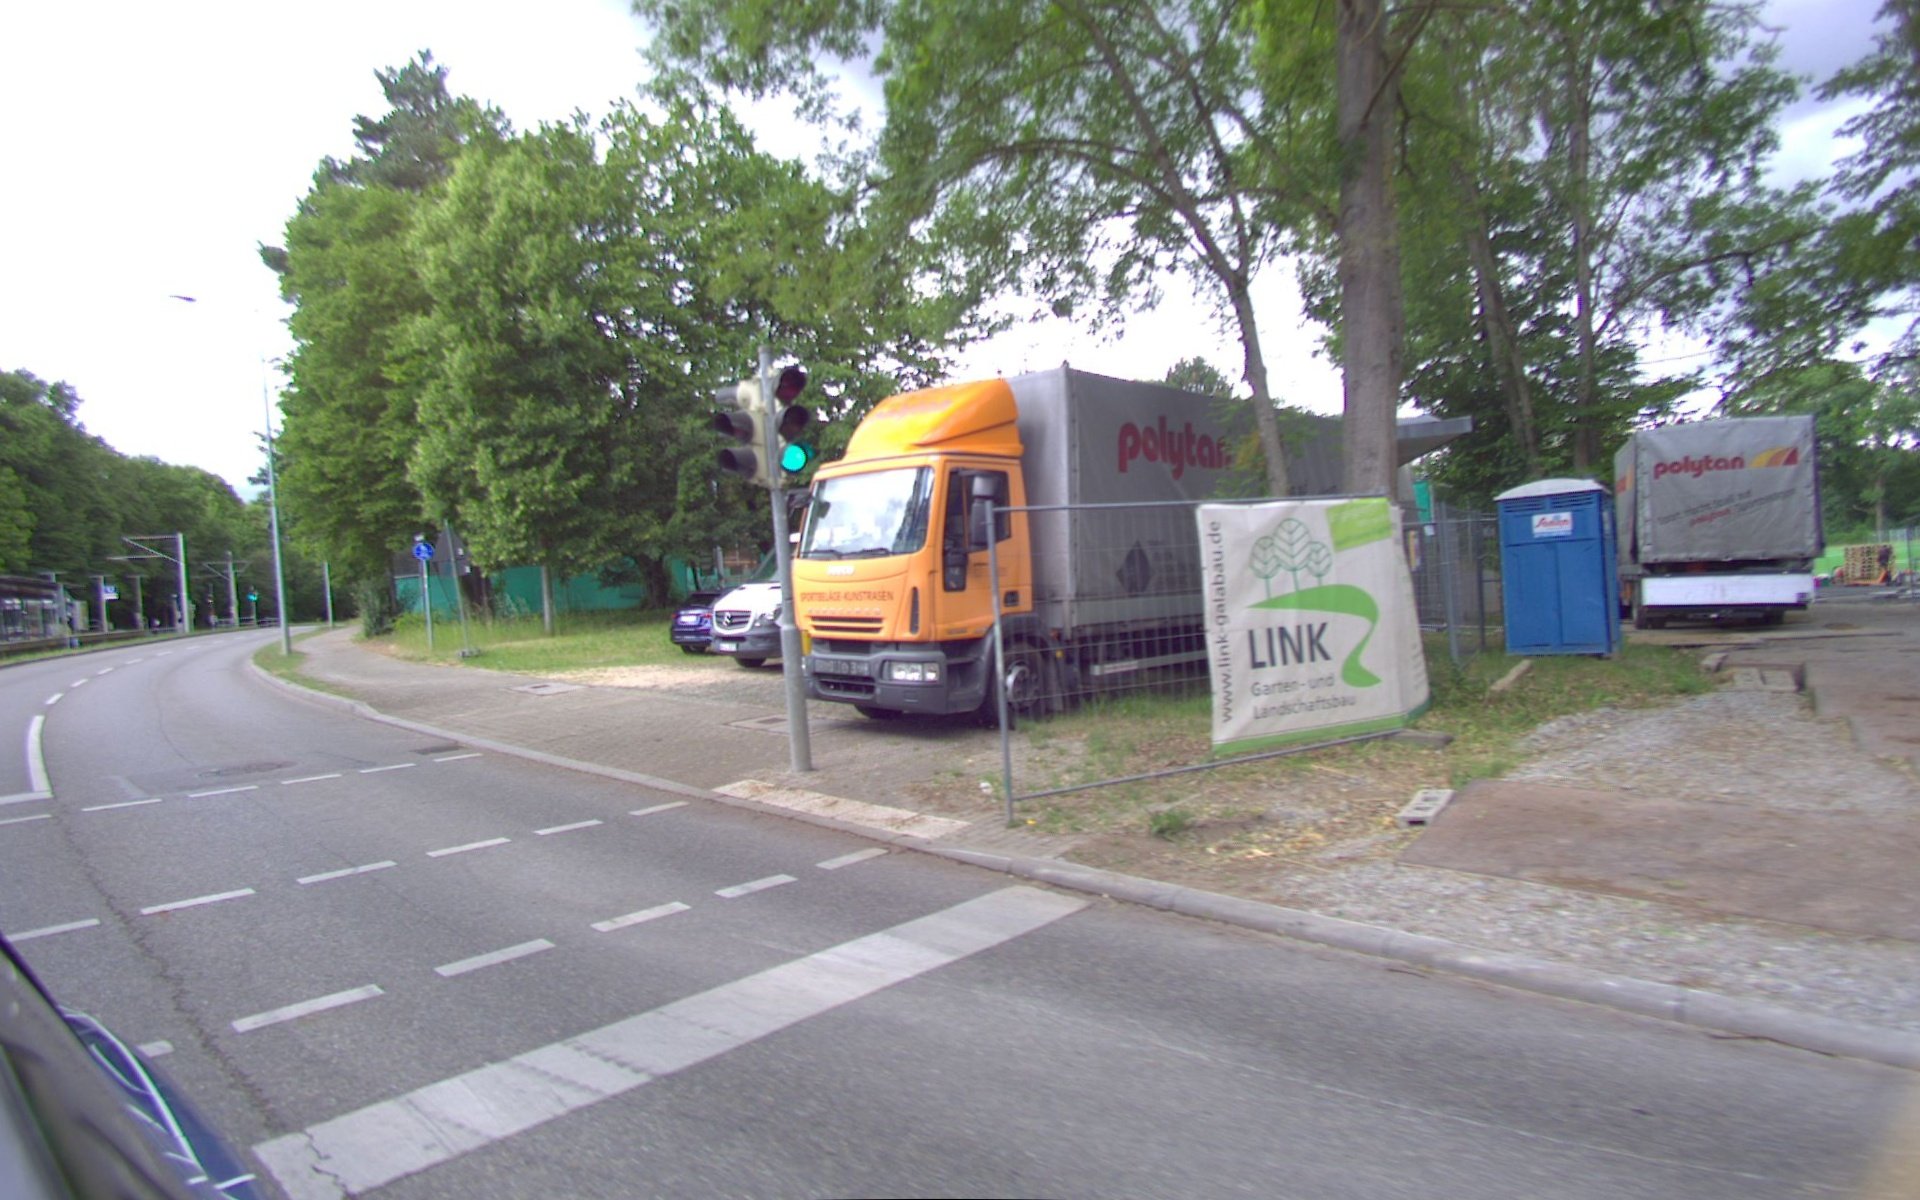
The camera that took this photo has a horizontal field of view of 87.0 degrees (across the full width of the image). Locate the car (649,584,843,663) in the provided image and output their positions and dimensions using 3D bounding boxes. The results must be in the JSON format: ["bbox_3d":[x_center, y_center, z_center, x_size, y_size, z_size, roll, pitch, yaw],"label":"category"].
[{"bbox_3d":[-4.552,0.429,22.020,1.714,1.336,3.951,1,4,37],"label":"car"}]

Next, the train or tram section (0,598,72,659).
[{"bbox_3d":[-60.656,1.866,62.555,2.774,3.764,18.593,-5,2,-23],"label":"train or tram section"}]

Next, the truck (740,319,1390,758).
[{"bbox_3d":[2.029,-0.757,12.332,9.126,3.557,2.567,-5,3,-45],"label":"truck"}]

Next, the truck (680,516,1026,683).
[{"bbox_3d":[-1.667,-0.193,18.374,2.123,2.433,6.319,0,4,43],"label":"truck"}]

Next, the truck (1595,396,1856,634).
[{"bbox_3d":[12.691,-1.277,17.323,2.442,3.223,5.860,-4,0,28],"label":"truck"}]

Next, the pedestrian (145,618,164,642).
[{"bbox_3d":[-62.762,2.335,78.847,0.971,1.770,0.731,-5,1,-33],"label":"pedestrian"}]
